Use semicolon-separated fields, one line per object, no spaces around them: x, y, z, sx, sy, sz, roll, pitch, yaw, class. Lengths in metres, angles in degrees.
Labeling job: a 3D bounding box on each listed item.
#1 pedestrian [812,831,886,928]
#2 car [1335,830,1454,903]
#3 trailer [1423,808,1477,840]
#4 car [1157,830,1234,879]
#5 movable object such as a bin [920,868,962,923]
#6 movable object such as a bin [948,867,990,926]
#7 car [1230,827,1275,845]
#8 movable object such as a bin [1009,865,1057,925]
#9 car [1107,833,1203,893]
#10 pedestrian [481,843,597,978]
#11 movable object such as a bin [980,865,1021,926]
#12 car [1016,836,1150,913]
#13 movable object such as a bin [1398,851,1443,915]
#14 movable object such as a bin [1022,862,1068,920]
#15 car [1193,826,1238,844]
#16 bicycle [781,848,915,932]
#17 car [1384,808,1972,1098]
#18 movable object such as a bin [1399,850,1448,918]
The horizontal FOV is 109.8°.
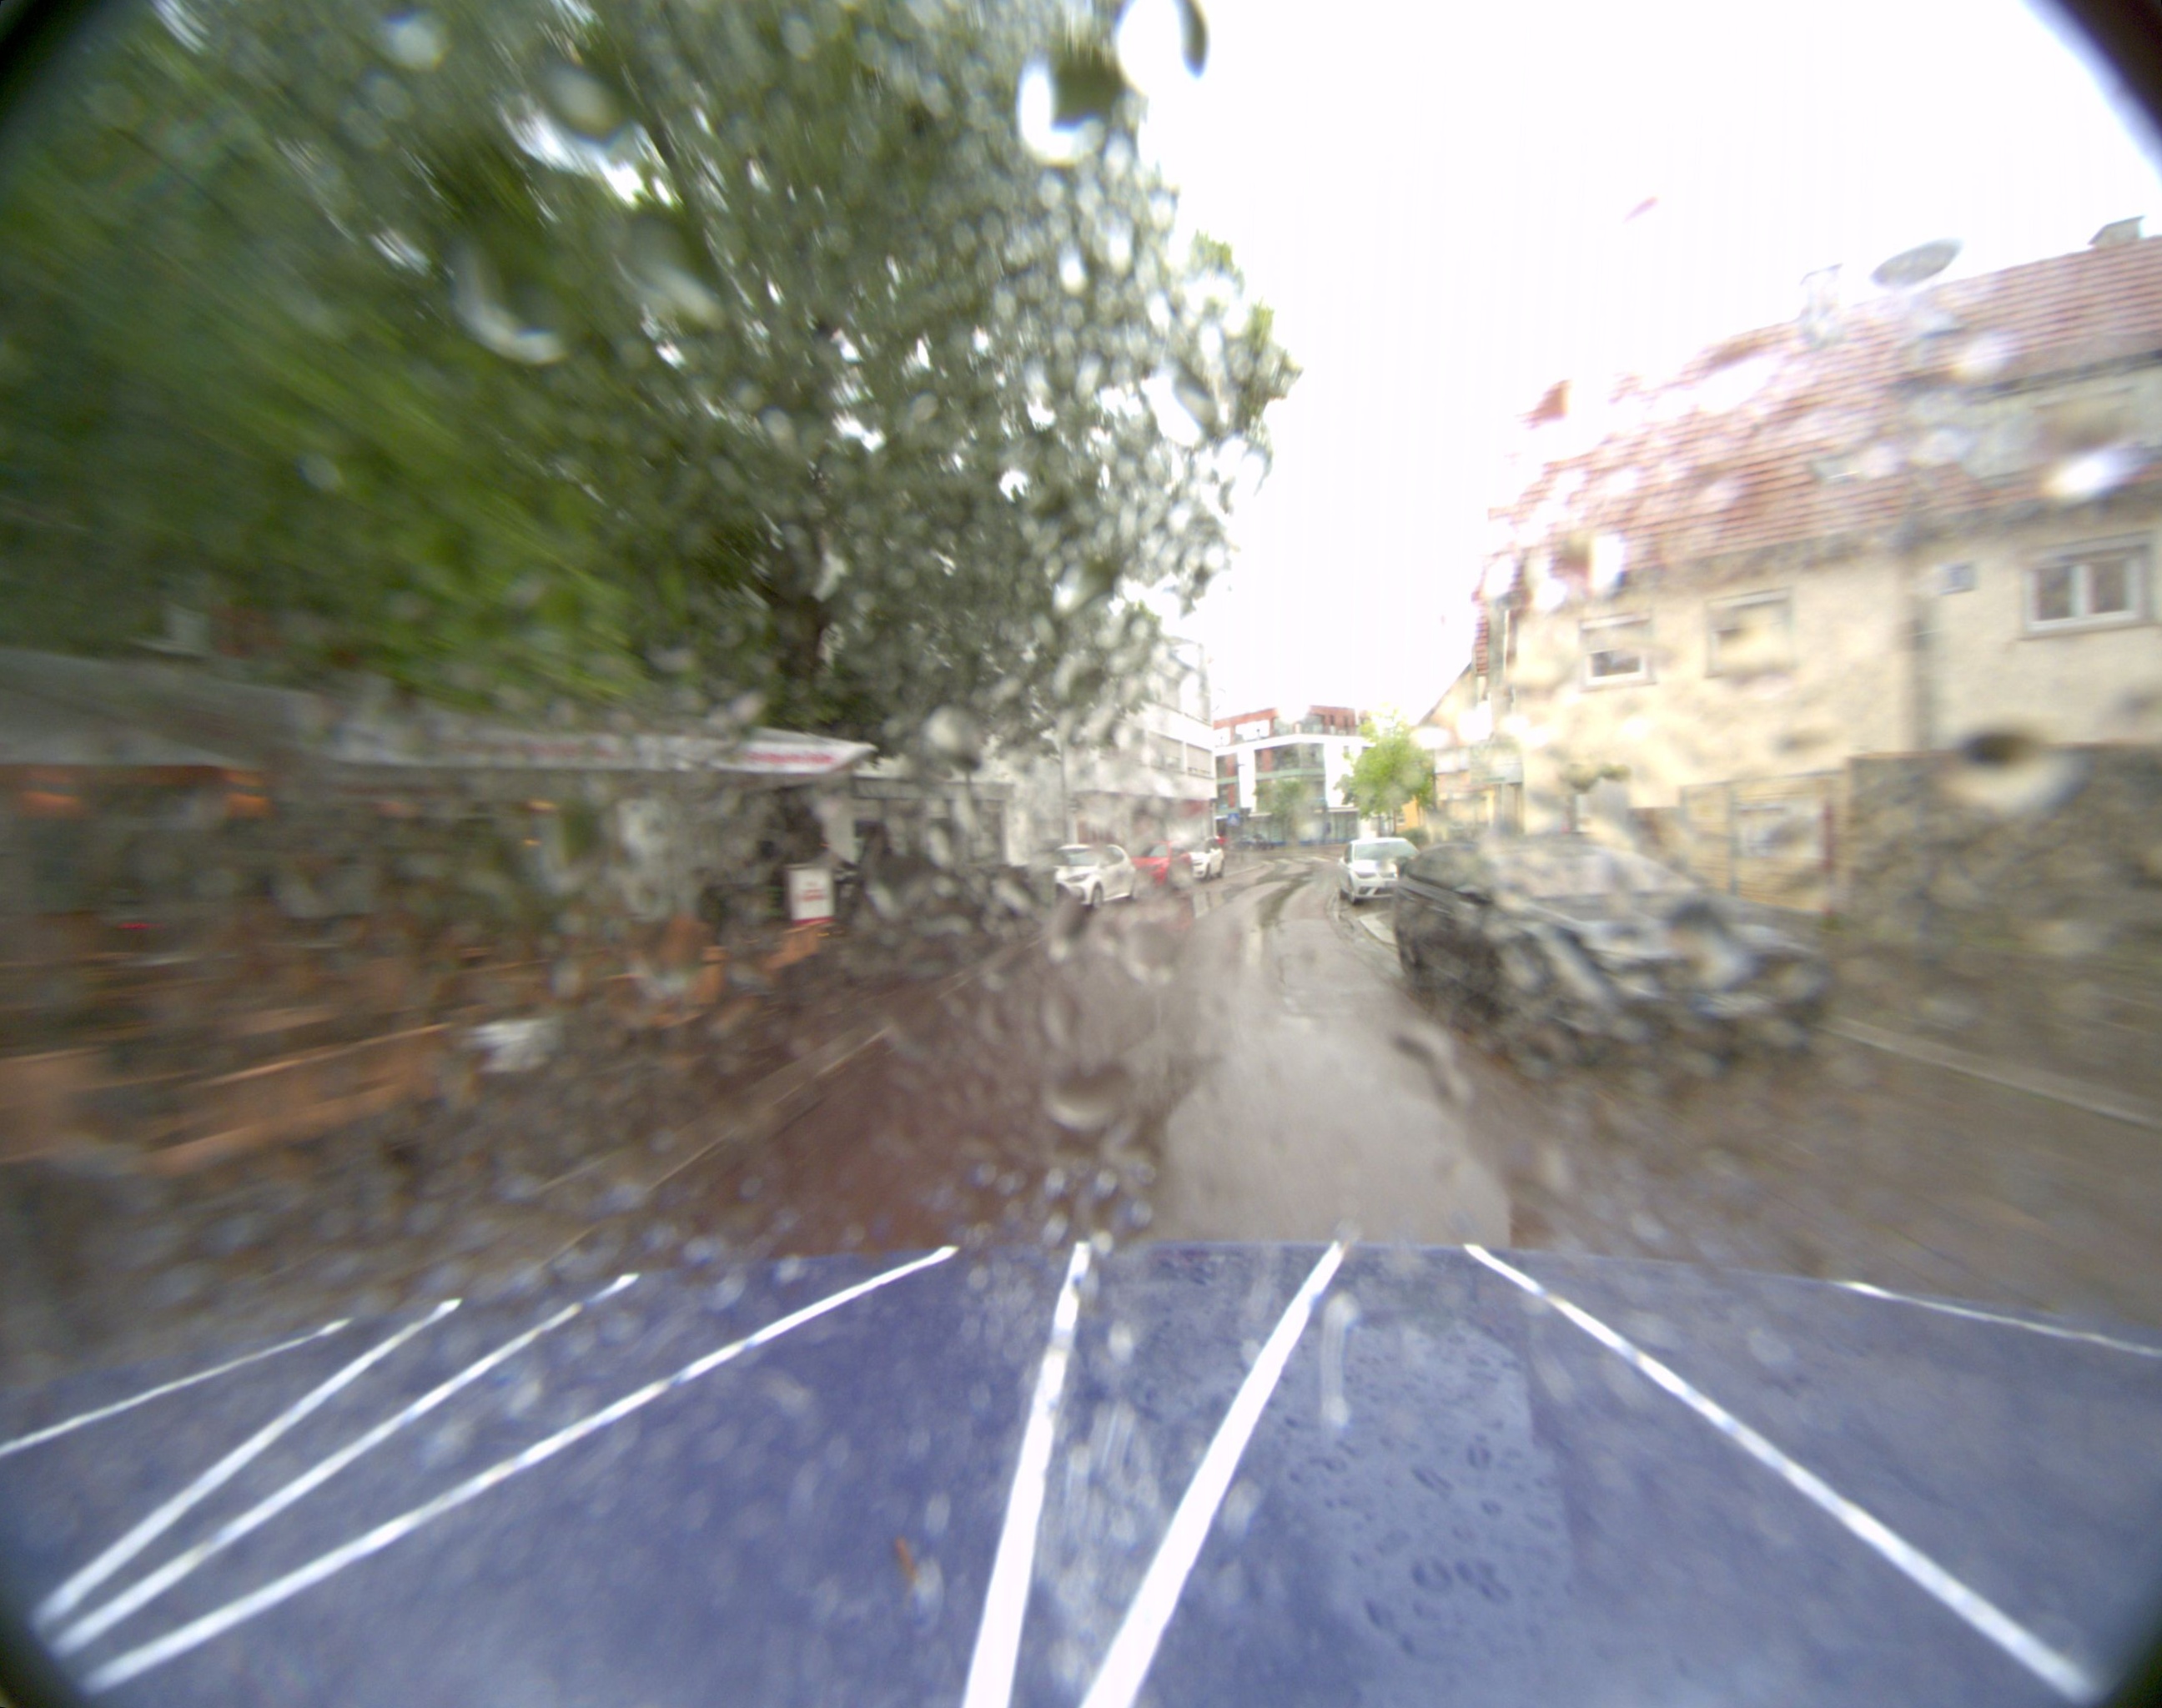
-4.299;0.440;14.086;0.910;1.689;0.863;1;4;37;pedestrian
7.138;0.242;17.708;1.852;1.443;4.076;-3;0;13;car
27.816;-2.233;57.248;1.839;2.075;3.085;-3;-1;-42;trailer
4.383;-0.032;28.483;1.789;1.590;4.445;-2;2;22;car
-2.854;0.835;15.579;0.538;1.077;0.729;0;2;19;movable object such as a bin
-2.247;0.829;15.251;0.538;1.124;0.729;0;2;19;movable object such as a bin
14.792;-1.574;65.626;1.682;1.428;3.576;-5;4;-33;car
-0.914;0.782;14.694;0.727;1.077;0.605;-3;3;13;movable object such as a bin
2.377;0.222;23.277;1.789;1.460;3.953;-2;3;23;car
-7.407;0.732;10.400;0.885;1.704;0.891;-1;4;33;pedestrian
-1.586;0.809;15.034;0.538;1.136;0.729;0;2;19;movable object such as a bin
0.183;0.400;18.035;1.789;1.547;3.954;-1;2;22;car
6.231;0.526;13.980;0.683;1.129;0.720;-2;2;21;movable object such as a bin
-0.720;0.738;15.344;0.727;1.087;0.611;-3;3;13;movable object such as a bin
12.320;-1.749;69.703;1.806;1.546;3.911;-5;4;-34;car
-4.279;0.605;14.127;0.925;1.343;2.220;1;3;37;bicycle
4.151;0.542;6.413;1.879;1.531;4.402;-4;1;8;car
5.957;0.513;13.251;0.700;1.137;0.720;-2;1;20;movable object such as a bin
